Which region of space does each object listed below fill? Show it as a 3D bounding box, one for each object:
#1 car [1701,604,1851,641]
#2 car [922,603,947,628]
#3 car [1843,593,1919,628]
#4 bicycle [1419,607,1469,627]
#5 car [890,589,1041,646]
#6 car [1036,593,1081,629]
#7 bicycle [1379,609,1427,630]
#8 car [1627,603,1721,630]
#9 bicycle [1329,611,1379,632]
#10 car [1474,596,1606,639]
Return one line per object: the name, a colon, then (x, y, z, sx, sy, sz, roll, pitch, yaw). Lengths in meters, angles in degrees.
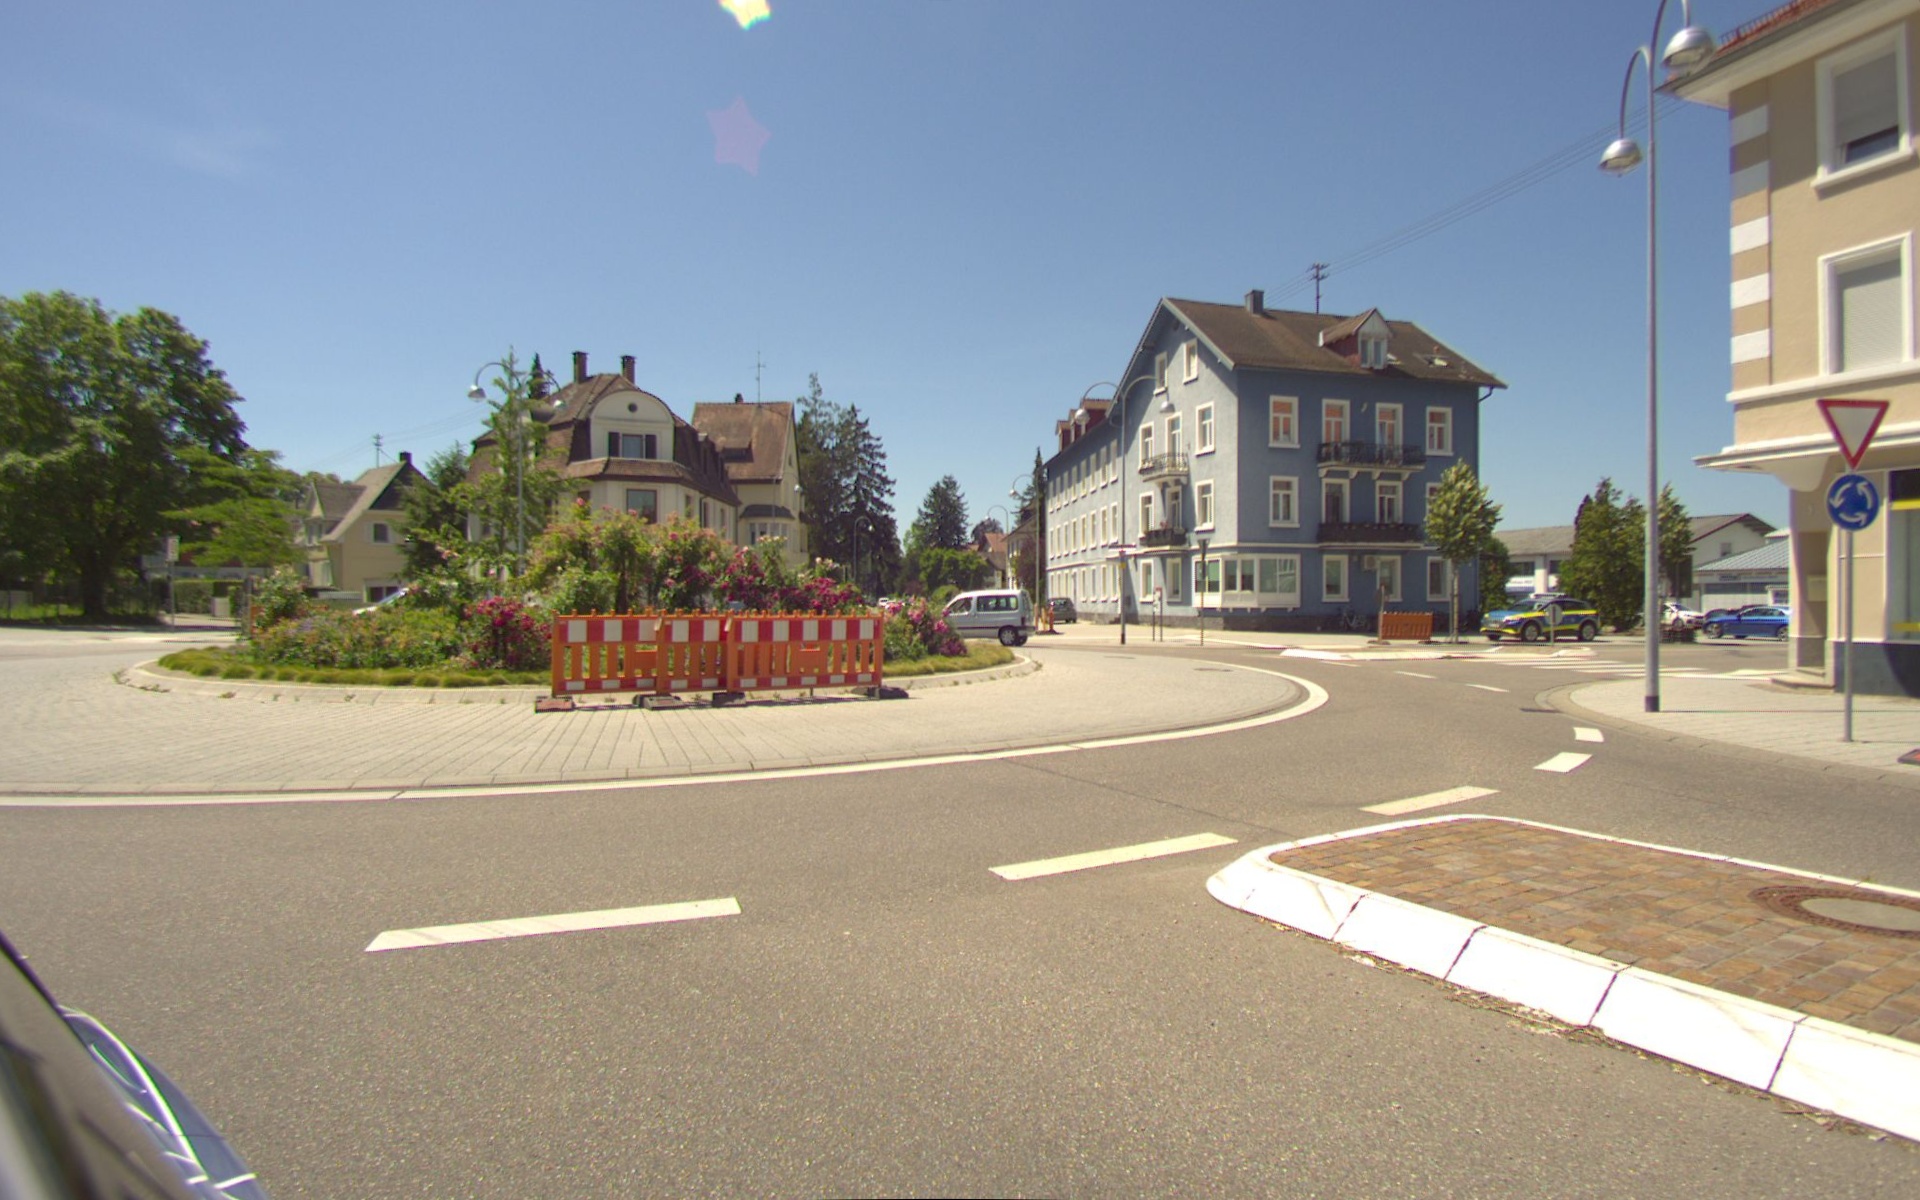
car: (32.759, 0.854, 40.779, 1.965, 1.408, 4.296, 0, 0, -22)
car: (-2.177, 1.324, 86.658, 1.970, 1.861, 4.004, 0, 3, -3)
car: (41.815, 0.459, 44.506, 1.966, 1.475, 4.012, 1, 0, -17)
bicycle: (21.703, 0.758, 45.380, 2.052, 0.918, 0.614, 0, 0, -13)
car: (0.207, 0.531, 32.572, 4.525, 1.750, 1.990, 0, 0, 15)
car: (5.668, 0.588, 58.695, 1.970, 1.861, 4.004, 0, 3, -3)
bicycle: (19.571, 0.849, 44.722, 2.051, 0.918, 0.614, 0, 0, -18)
car: (40.782, 0.925, 57.935, 1.966, 1.475, 4.012, 1, 0, -17)
bicycle: (16.923, 0.921, 43.454, 2.051, 0.918, 0.614, 0, 0, -18)
car: (21.835, 0.652, 38.146, 4.426, 1.581, 1.662, 0, -1, -16)
